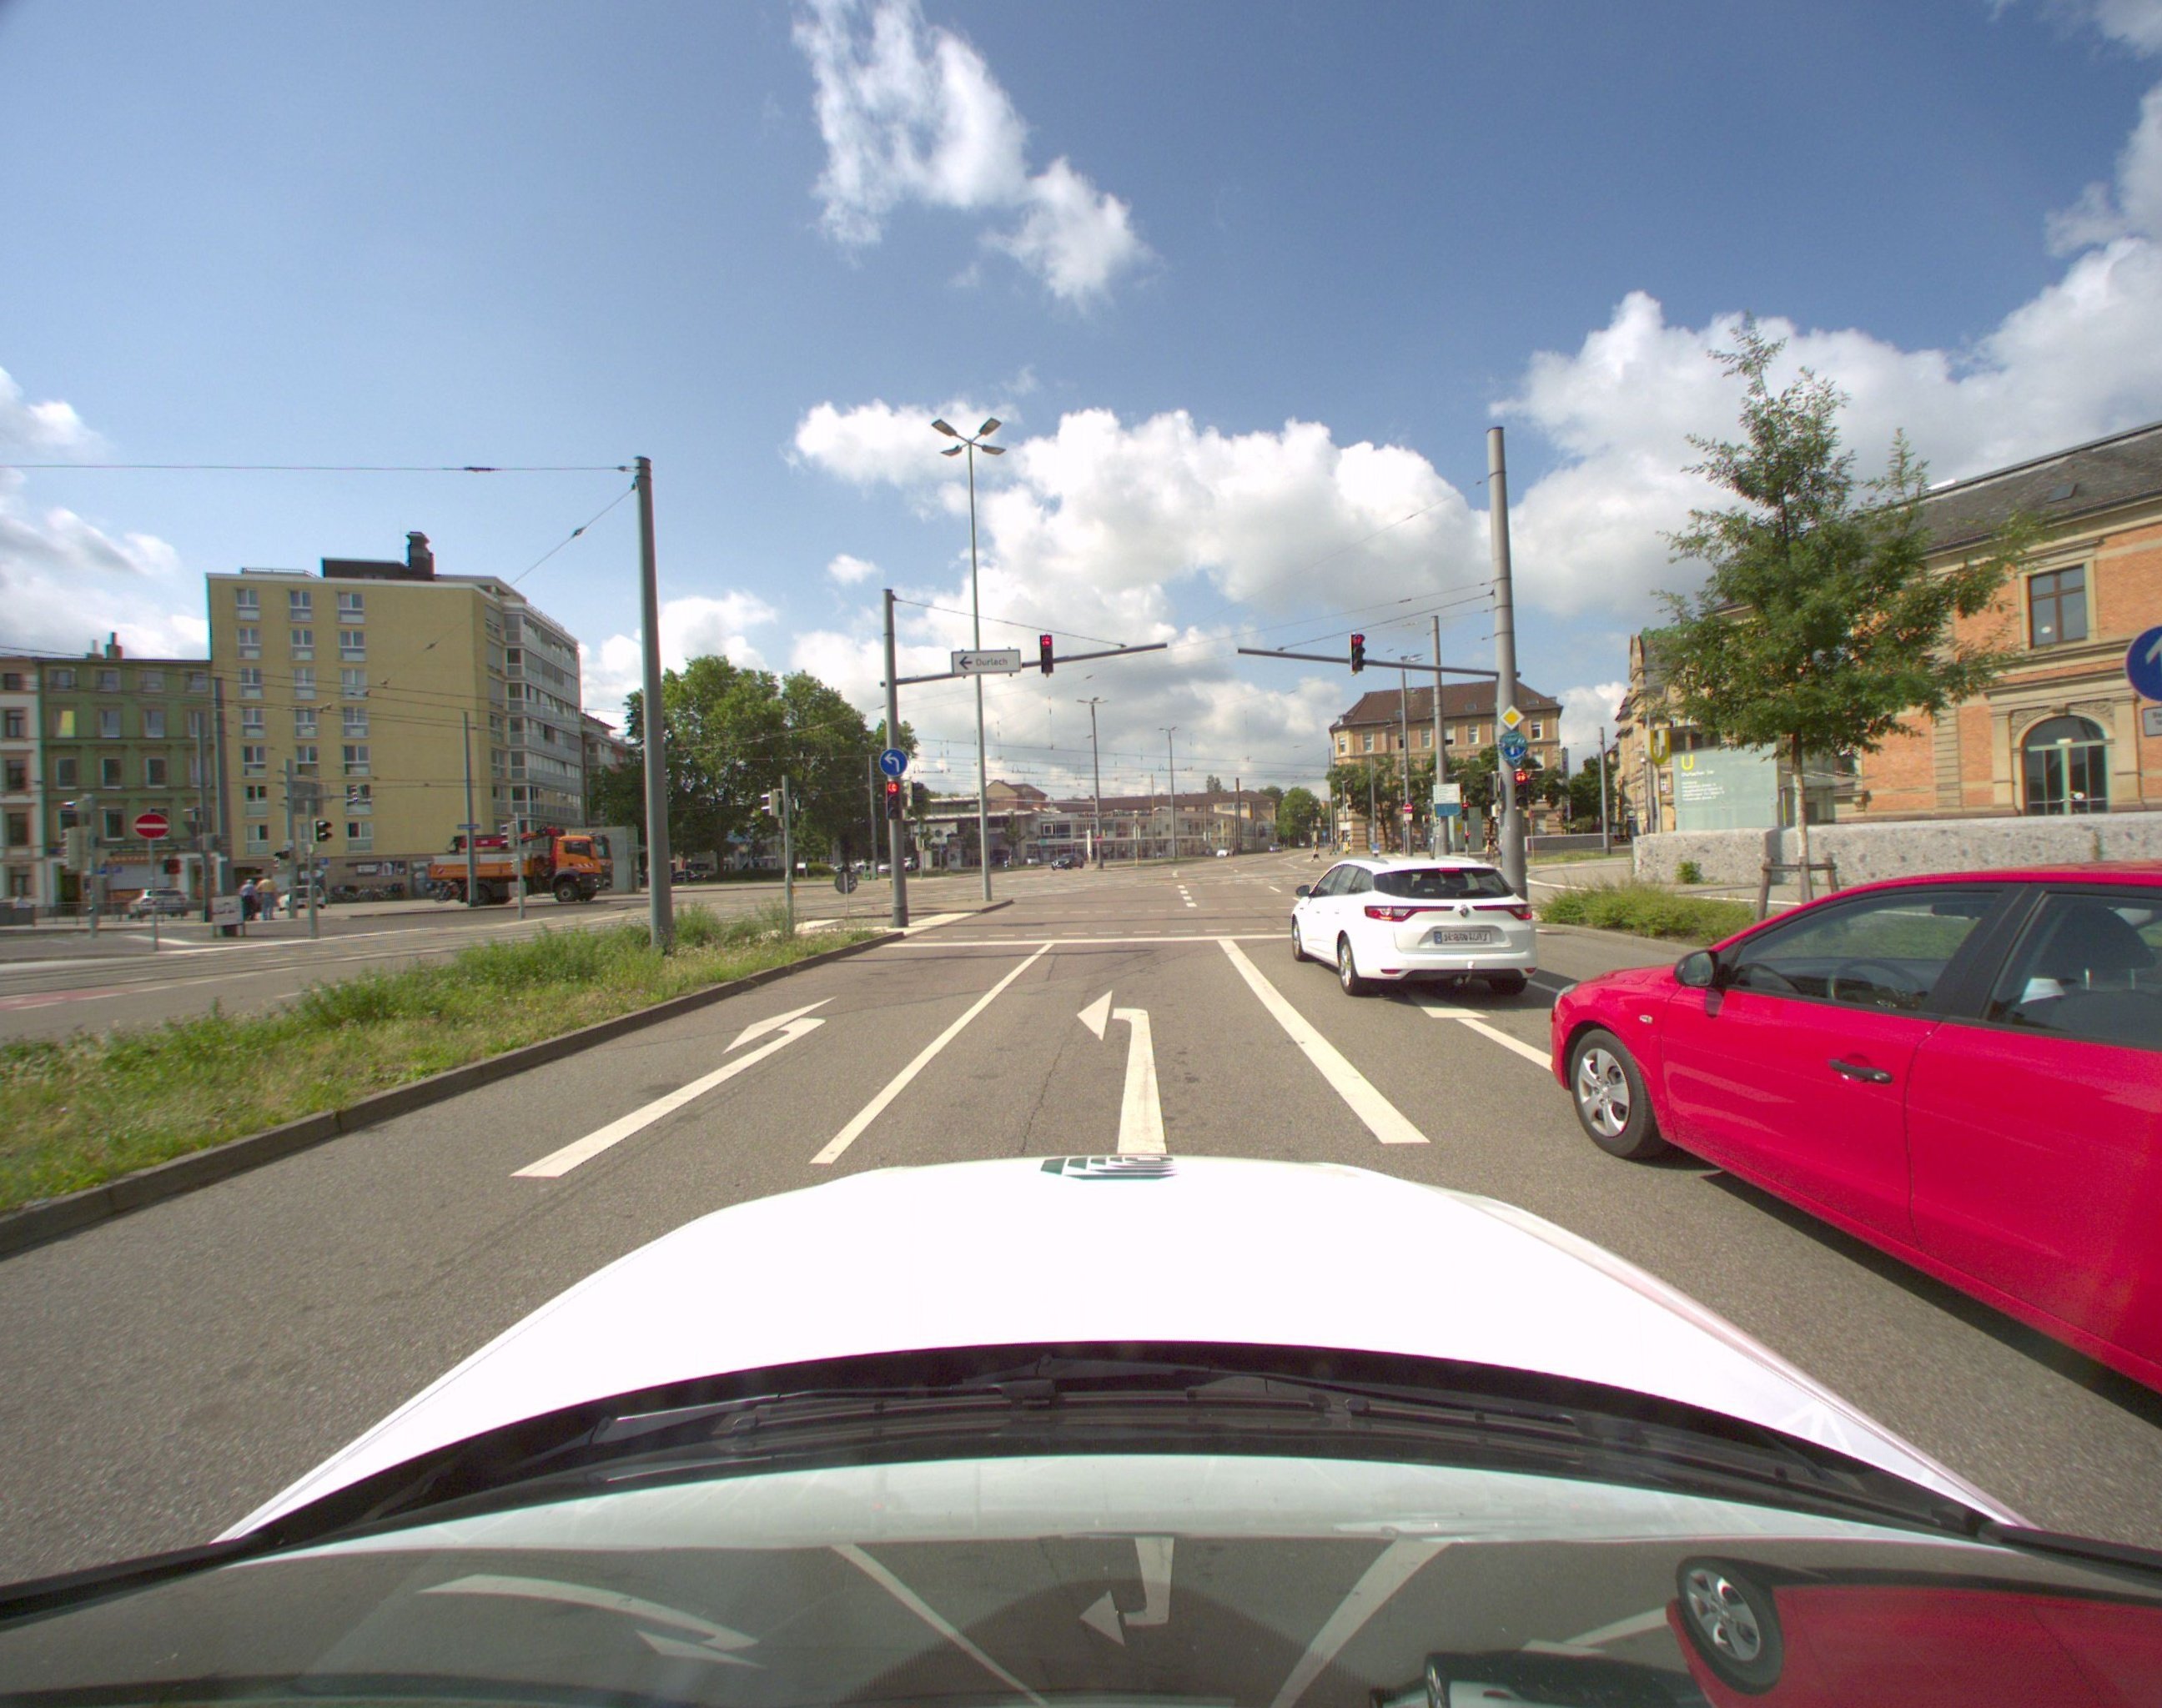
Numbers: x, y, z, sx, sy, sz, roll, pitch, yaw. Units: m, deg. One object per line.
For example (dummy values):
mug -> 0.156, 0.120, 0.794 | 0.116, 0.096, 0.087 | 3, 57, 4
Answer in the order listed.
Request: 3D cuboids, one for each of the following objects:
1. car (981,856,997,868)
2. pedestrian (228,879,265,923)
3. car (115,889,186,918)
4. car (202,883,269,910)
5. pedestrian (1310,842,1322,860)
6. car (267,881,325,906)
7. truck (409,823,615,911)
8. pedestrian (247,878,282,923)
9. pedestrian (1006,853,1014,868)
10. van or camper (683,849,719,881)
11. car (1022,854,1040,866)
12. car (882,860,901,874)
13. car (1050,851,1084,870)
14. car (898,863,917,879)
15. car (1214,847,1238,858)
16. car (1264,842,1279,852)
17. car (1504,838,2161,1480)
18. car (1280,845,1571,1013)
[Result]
car -> -12.654, 1.043, 111.771 | 1.990, 1.552, 4.071 | -2, 0, -5
pedestrian -> -36.195, 2.036, 35.321 | 0.696, 1.860, 0.819 | -2, 0, 2
car -> -53.192, 2.809, 46.536 | 3.631, 1.501, 1.707 | -2, 0, 25
car -> -49.324, 2.479, 47.480 | 3.953, 1.436, 1.883 | -2, 0, 32
pedestrian -> 20.069, -0.264, 69.566 | 0.678, 1.535, 0.666 | -2, 0, -38
car -> -47.428, 2.389, 49.193 | 3.629, 1.350, 1.708 | -2, 0, 33
truck -> -27.896, 0.576, 40.322 | 7.929, 3.856, 2.189 | -2, 0, -16
pedestrian -> -35.439, 2.003, 35.339 | 0.648, 1.868, 0.782 | -2, 0, 2
pedestrian -> -9.551, 0.827, 109.372 | 0.881, 1.948, 0.886 | -2, 0, -9
van or camper -> -37.452, 1.061, 80.388 | 2.590, 2.908, 6.057 | -2, 0, -20
car -> -6.964, 0.809, 112.838 | 1.993, 1.596, 3.987 | -2, 0, -9
car -> -26.365, 1.815, 113.354 | 1.794, 1.769, 3.994 | -2, 0, -4
car -> -1.252, 0.585, 74.952 | 1.978, 1.530, 4.017 | -2, 0, 16
car -> -24.135, 2.339, 113.197 | 1.990, 2.013, 3.994 | -2, 0, -4
car -> 21.745, -0.272, 121.911 | 1.974, 1.442, 4.026 | -2, 0, 34
car -> 33.707, -1.202, 143.944 | 1.977, 1.574, 4.021 | -2, 0, 20
car -> 3.360, 0.673, 2.775 | 1.809, 1.439, 4.069 | -1, 0, 2
car -> 3.703, 0.687, 9.692 | 1.840, 1.472, 4.340 | -3, 0, 4
